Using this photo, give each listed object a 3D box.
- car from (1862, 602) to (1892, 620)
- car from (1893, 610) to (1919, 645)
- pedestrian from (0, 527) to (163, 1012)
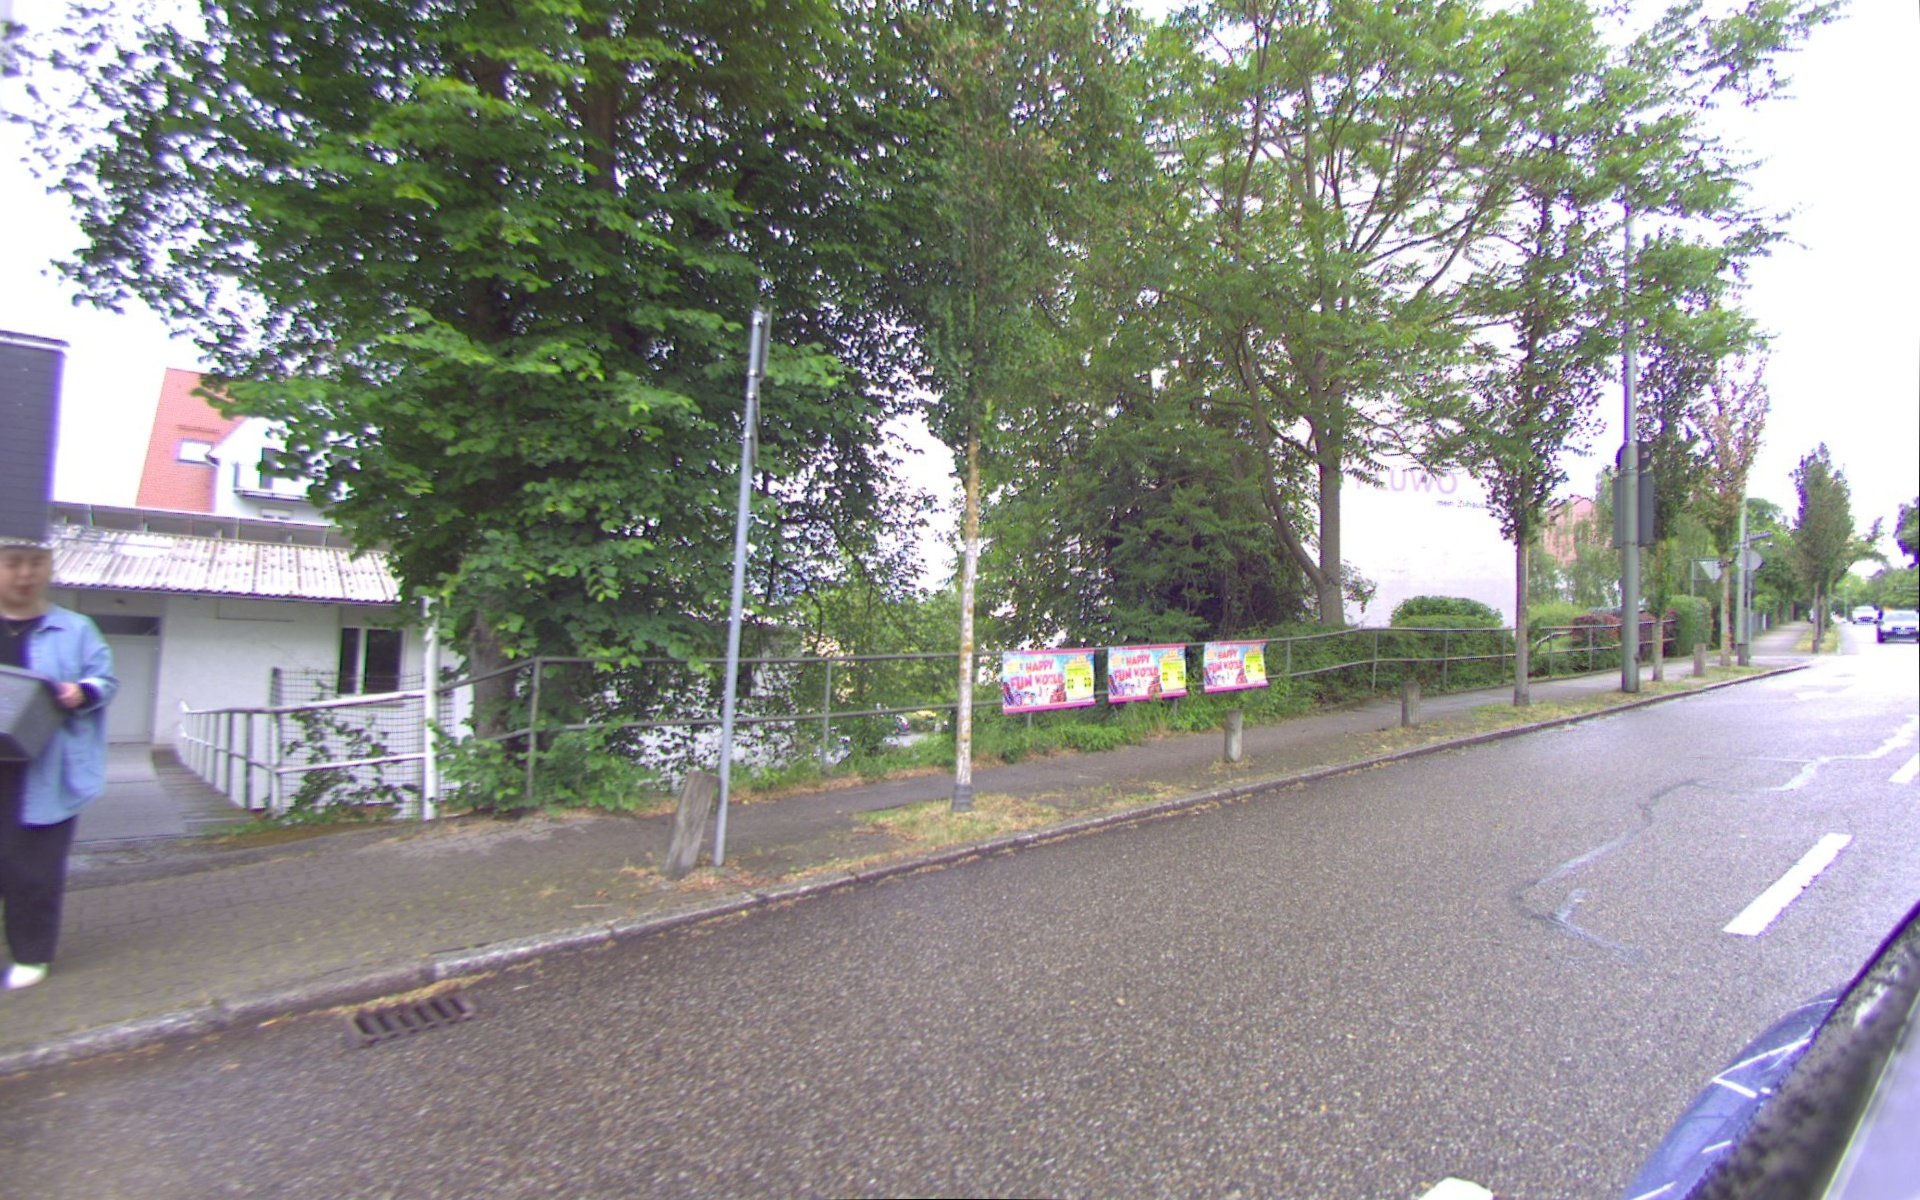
[{"bbox_3d":[88.633,1.000,97.758,4.279,1.638,1.831,-1,0,-44],"label":"car"},{"bbox_3d":[49.545,1.387,52.102,4.220,1.638,1.832,-1,0,-42],"label":"car"},{"bbox_3d":[-3.889,0.640,4.218,0.809,1.805,1.073,0,-2,-34],"label":"pedestrian"}]
